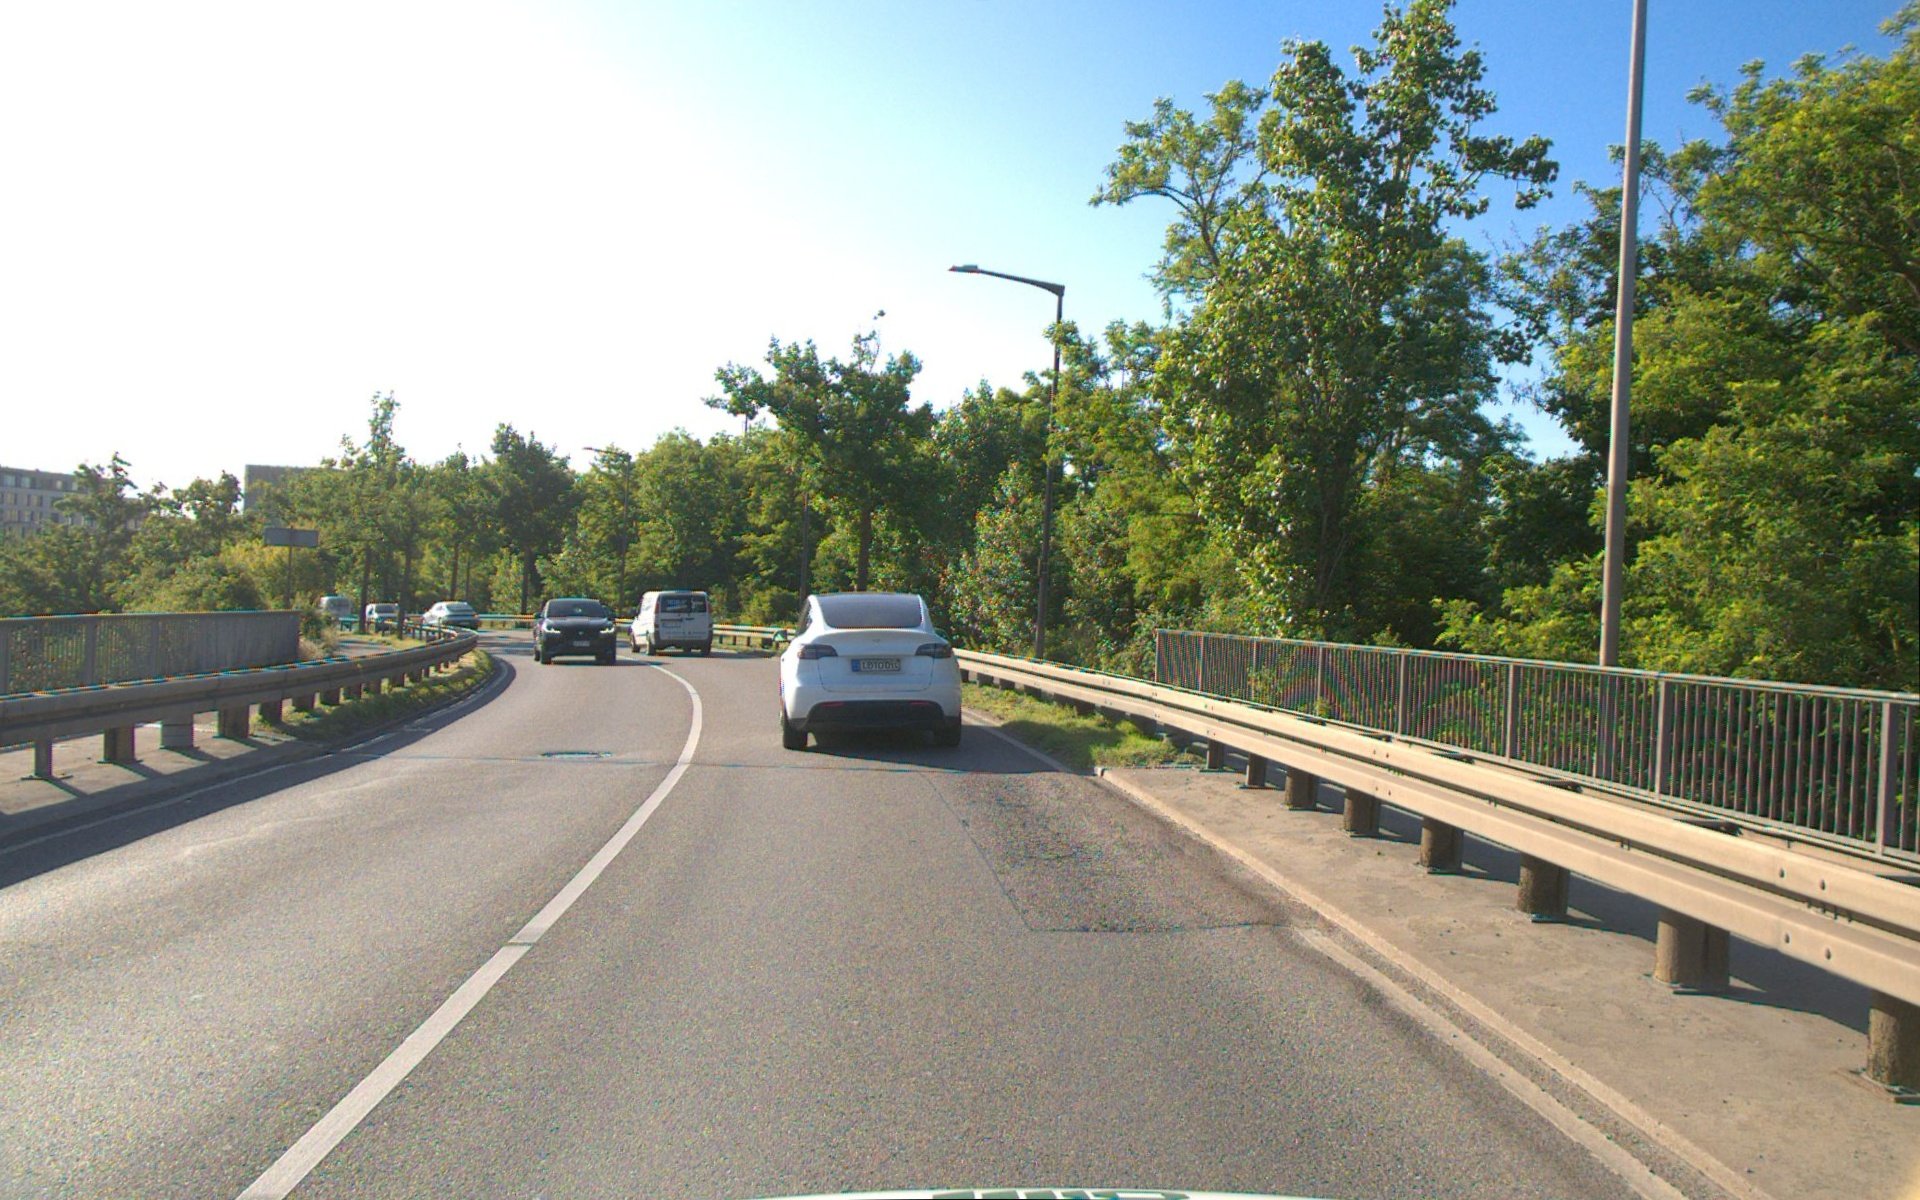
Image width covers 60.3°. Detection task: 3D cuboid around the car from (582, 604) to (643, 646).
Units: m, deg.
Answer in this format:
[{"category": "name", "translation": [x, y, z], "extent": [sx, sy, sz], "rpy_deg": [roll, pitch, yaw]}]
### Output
[{"category": "car", "translation": [-13.944, 0.982, 66.258], "extent": [1.832, 1.612, 3.890], "rpy_deg": [0, 0, -21]}]

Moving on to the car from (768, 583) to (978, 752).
[{"category": "car", "translation": [-1.085, 0.666, 18.467], "extent": [1.948, 1.666, 4.054], "rpy_deg": [0, 0, -9]}]

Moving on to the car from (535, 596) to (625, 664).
[{"category": "car", "translation": [-10.056, 0.750, 43.520], "extent": [1.869, 1.671, 4.439], "rpy_deg": [0, 0, -19]}]

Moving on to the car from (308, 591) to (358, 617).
[{"category": "car", "translation": [-38.890, 0.252, 102.543], "extent": [1.823, 1.583, 3.840], "rpy_deg": [0, 0, -38]}]

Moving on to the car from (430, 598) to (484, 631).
[{"category": "car", "translation": [-25.693, 0.711, 84.447], "extent": [1.839, 1.612, 3.876], "rpy_deg": [0, 0, -29]}]

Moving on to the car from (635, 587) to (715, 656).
[{"category": "car", "translation": [-8.710, 0.617, 50.310], "extent": [1.972, 1.974, 4.448], "rpy_deg": [0, 0, -16]}]

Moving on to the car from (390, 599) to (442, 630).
[{"category": "car", "translation": [-26.924, 0.712, 81.838], "extent": [1.773, 1.456, 3.788], "rpy_deg": [0, 0, -30]}]
